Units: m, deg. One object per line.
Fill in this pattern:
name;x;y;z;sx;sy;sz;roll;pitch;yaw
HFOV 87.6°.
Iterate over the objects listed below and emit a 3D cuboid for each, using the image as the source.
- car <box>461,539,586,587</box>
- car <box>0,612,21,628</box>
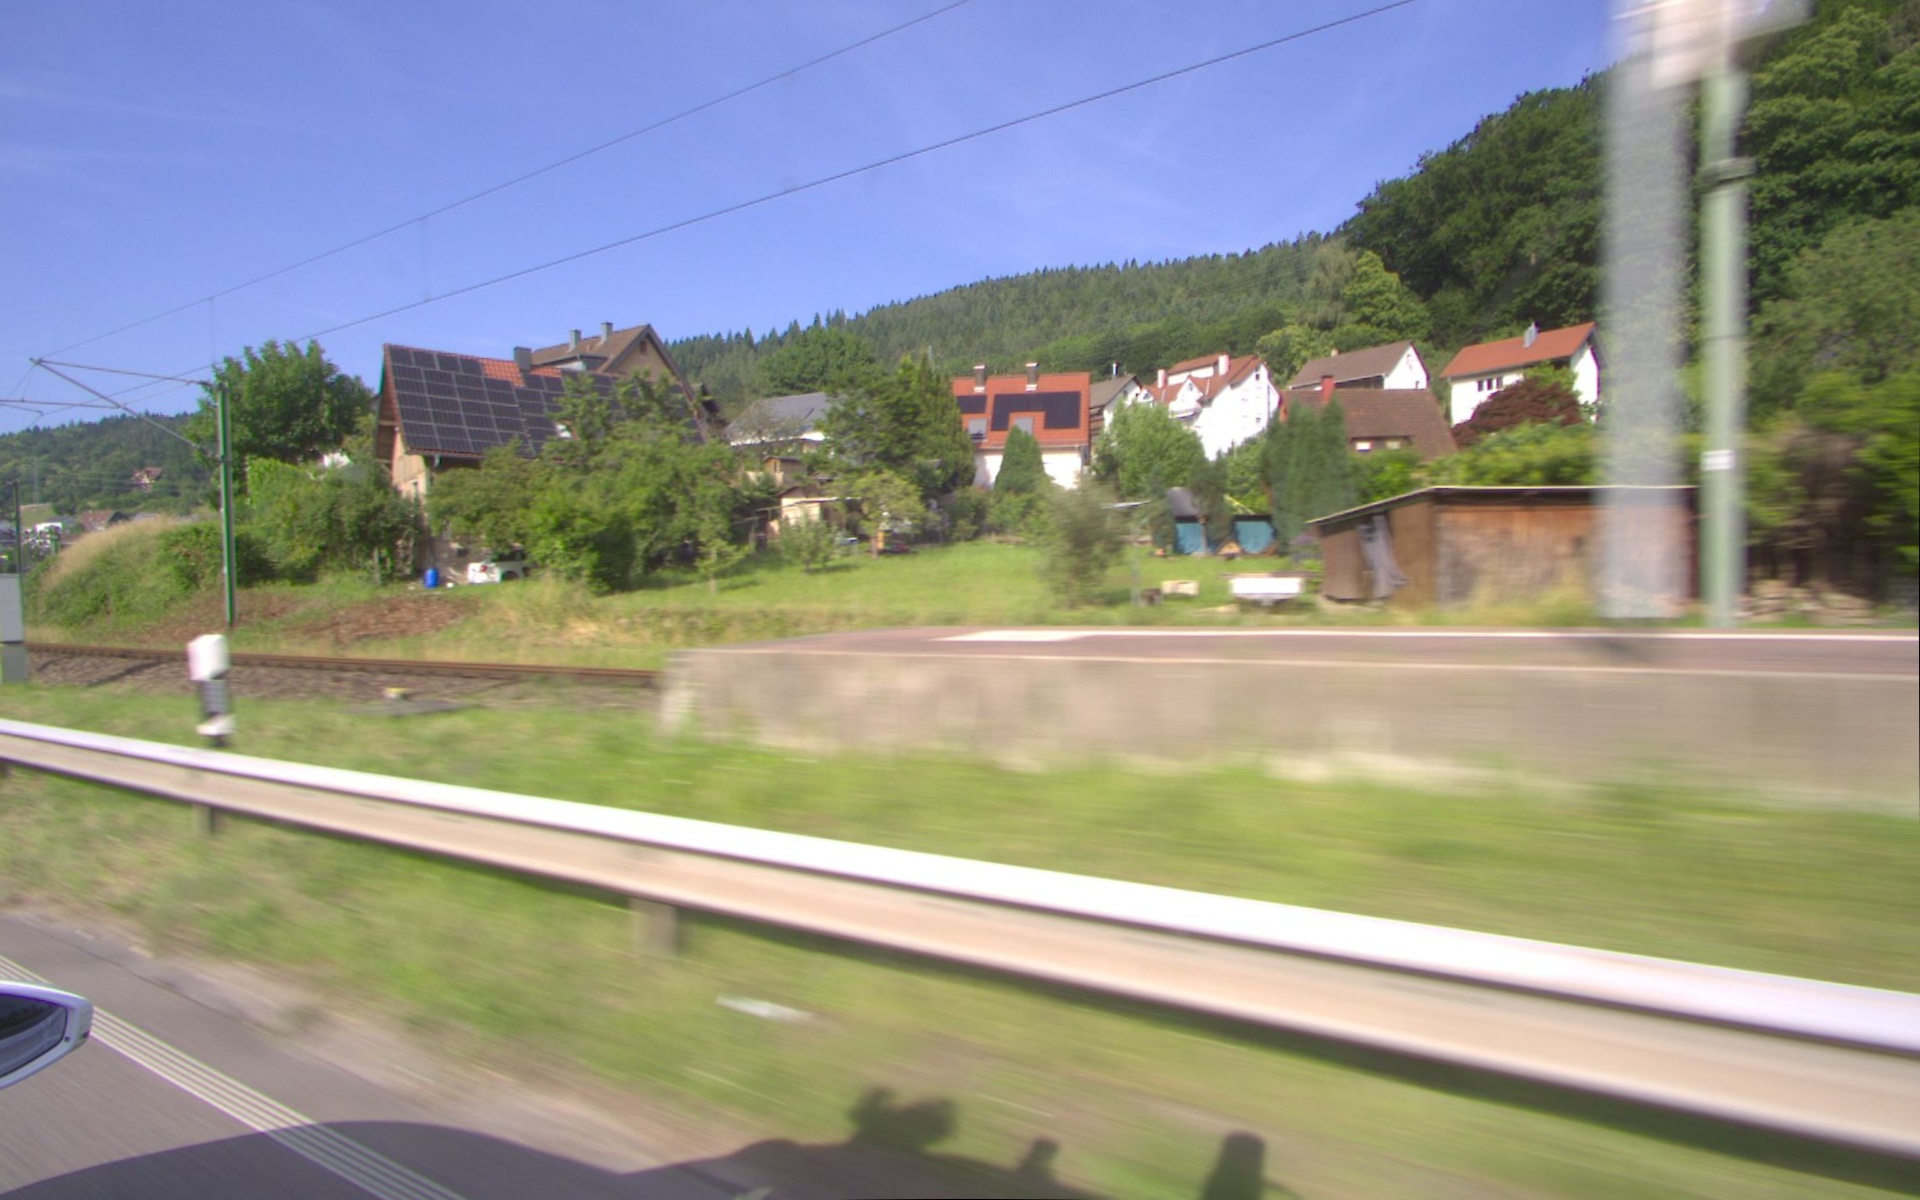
car;-16.711;-1.394;38.439;3.959;1.707;1.980;-2;2;-44
car;-93.020;1.926;97.230;1.788;1.427;3.752;-2;1;-31
